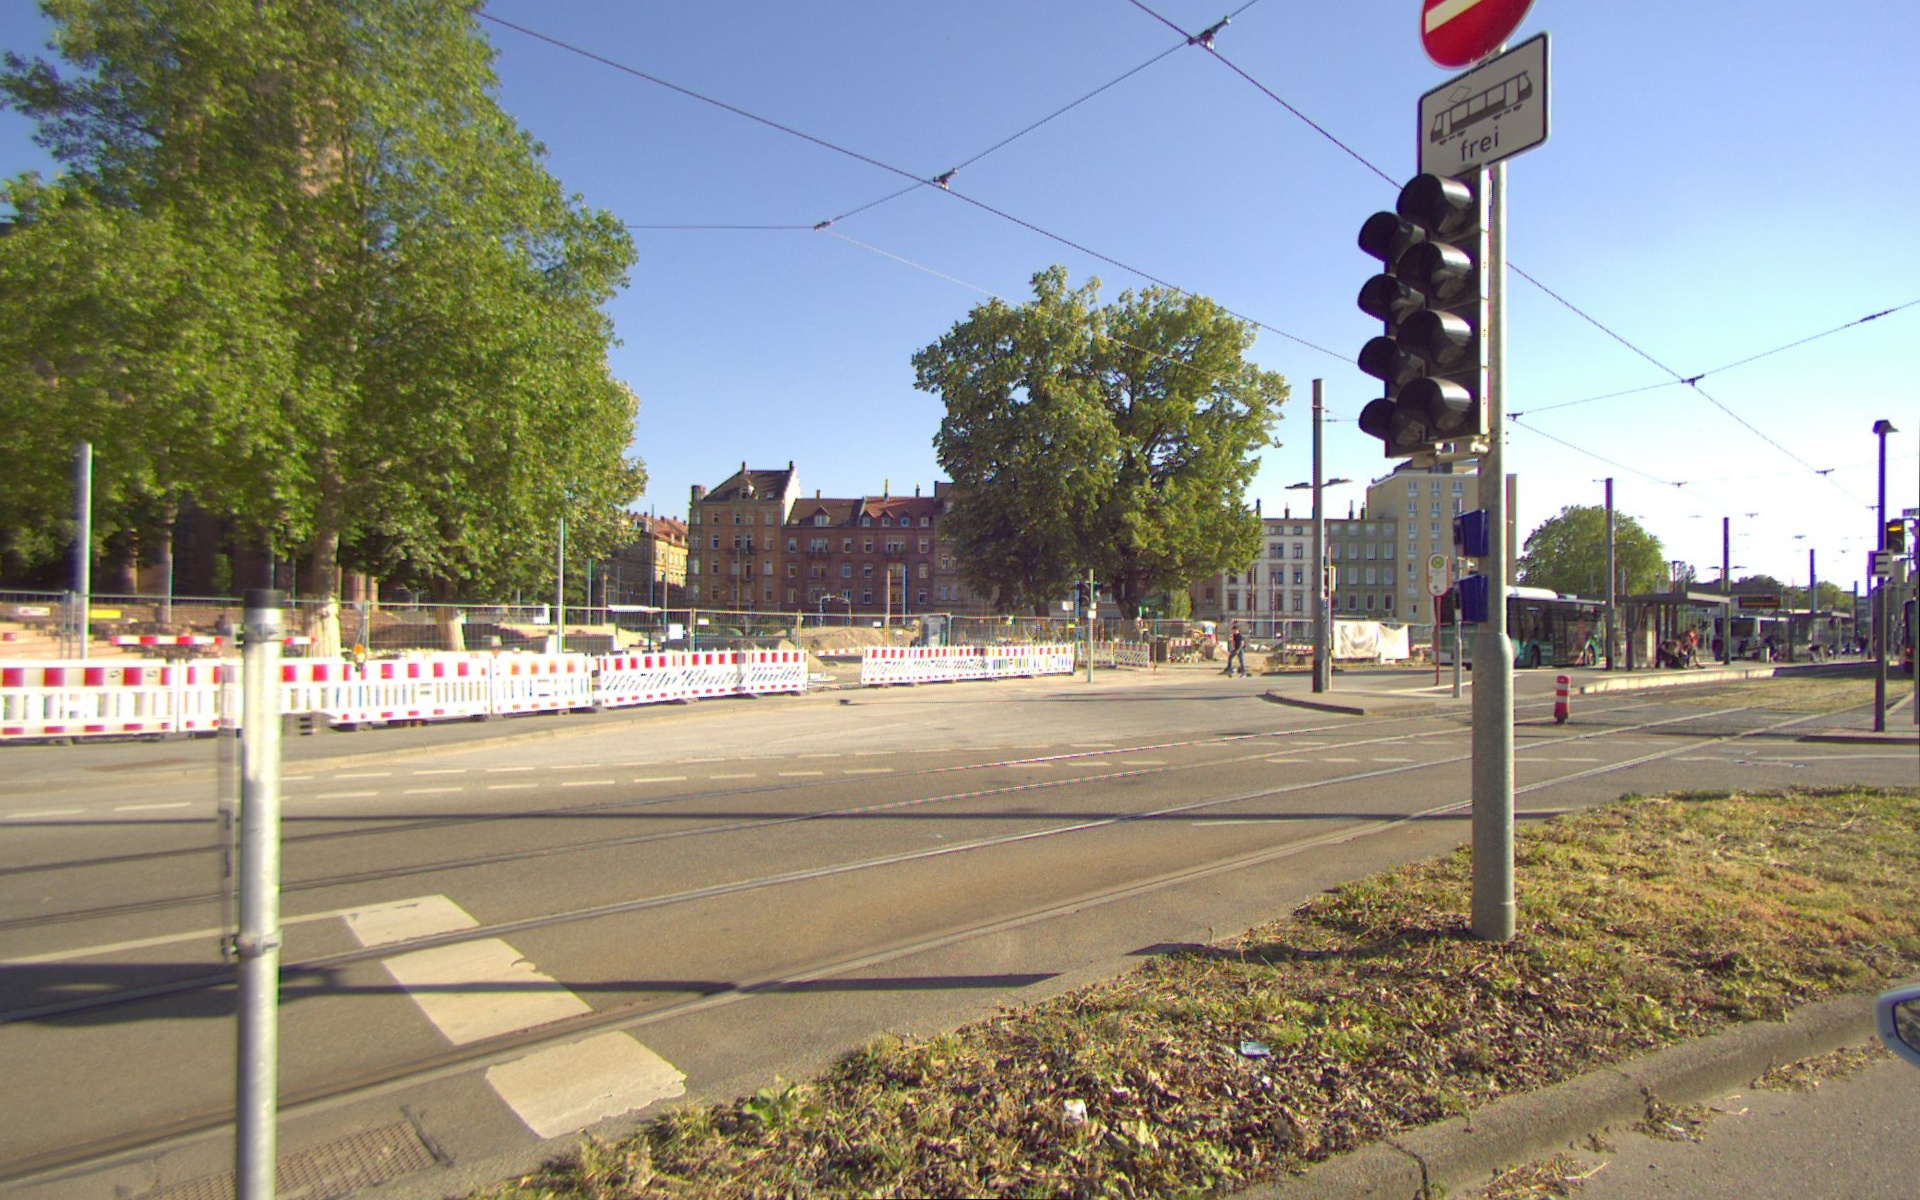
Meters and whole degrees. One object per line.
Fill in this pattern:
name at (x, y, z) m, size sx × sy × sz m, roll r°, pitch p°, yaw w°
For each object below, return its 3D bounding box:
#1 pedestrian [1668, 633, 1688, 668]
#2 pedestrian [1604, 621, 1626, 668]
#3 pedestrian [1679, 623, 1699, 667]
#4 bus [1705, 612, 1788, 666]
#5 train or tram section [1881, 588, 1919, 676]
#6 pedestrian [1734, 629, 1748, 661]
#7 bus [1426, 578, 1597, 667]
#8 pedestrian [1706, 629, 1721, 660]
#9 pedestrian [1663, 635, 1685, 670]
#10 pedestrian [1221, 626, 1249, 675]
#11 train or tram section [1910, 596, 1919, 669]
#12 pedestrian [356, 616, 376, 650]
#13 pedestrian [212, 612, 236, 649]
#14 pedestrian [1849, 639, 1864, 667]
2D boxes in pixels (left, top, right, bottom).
pedestrian at (28.180, 1.987, 39.407) m, size 0.564 × 1.363 × 0.636 m, roll -1°, pitch -2°, yaw 43°
pedestrian at (25.207, 1.707, 38.632) m, size 0.554 × 1.772 × 0.534 m, roll 2°, pitch -2°, yaw -35°
pedestrian at (29.559, 1.815, 40.727) m, size 0.564 × 1.772 × 0.636 m, roll -1°, pitch -2°, yaw 43°
bus at (53.958, 2.636, 68.748) m, size 13.376 × 3.317 × 2.694 m, roll 2°, pitch 0°, yaw -44°
train or tram section at (44.752, 1.496, 45.827) m, size 12.108 × 3.644 × 2.855 m, roll 2°, pitch 0°, yaw -42°
pedestrian at (44.767, 2.580, 57.587) m, size 0.564 × 1.772 × 0.636 m, roll -1°, pitch -2°, yaw 41°
bus at (21.998, 0.903, 39.749) m, size 9.564 × 3.177 × 2.631 m, roll 2°, pitch 0°, yaw -40°
pedestrian at (43.953, 2.596, 58.589) m, size 0.629 × 1.772 × 0.570 m, roll -1°, pitch -2°, yaw 34°
pedestrian at (27.671, 2.022, 38.932) m, size 0.609 × 1.358 × 0.438 m, roll -1°, pitch -2°, yaw 44°
pedestrian at (9.790, 1.801, 35.717) m, size 0.699 × 1.719 × 0.899 m, roll -1°, pitch -4°, yaw 33°
train or tram section at (53.890, 1.824, 53.780) m, size 12.100 × 3.644 × 2.987 m, roll 2°, pitch 0°, yaw -40°
pedestrian at (-29.480, 1.620, 49.834) m, size 0.751 × 1.669 × 0.671 m, roll 1°, pitch -1°, yaw -26°
pedestrian at (-33.471, 1.398, 45.686) m, size 0.665 × 1.669 × 0.635 m, roll 1°, pitch -1°, yaw -18°
pedestrian at (56.909, 3.340, 63.754) m, size 0.629 × 1.772 × 0.570 m, roll -1°, pitch -2°, yaw 34°
